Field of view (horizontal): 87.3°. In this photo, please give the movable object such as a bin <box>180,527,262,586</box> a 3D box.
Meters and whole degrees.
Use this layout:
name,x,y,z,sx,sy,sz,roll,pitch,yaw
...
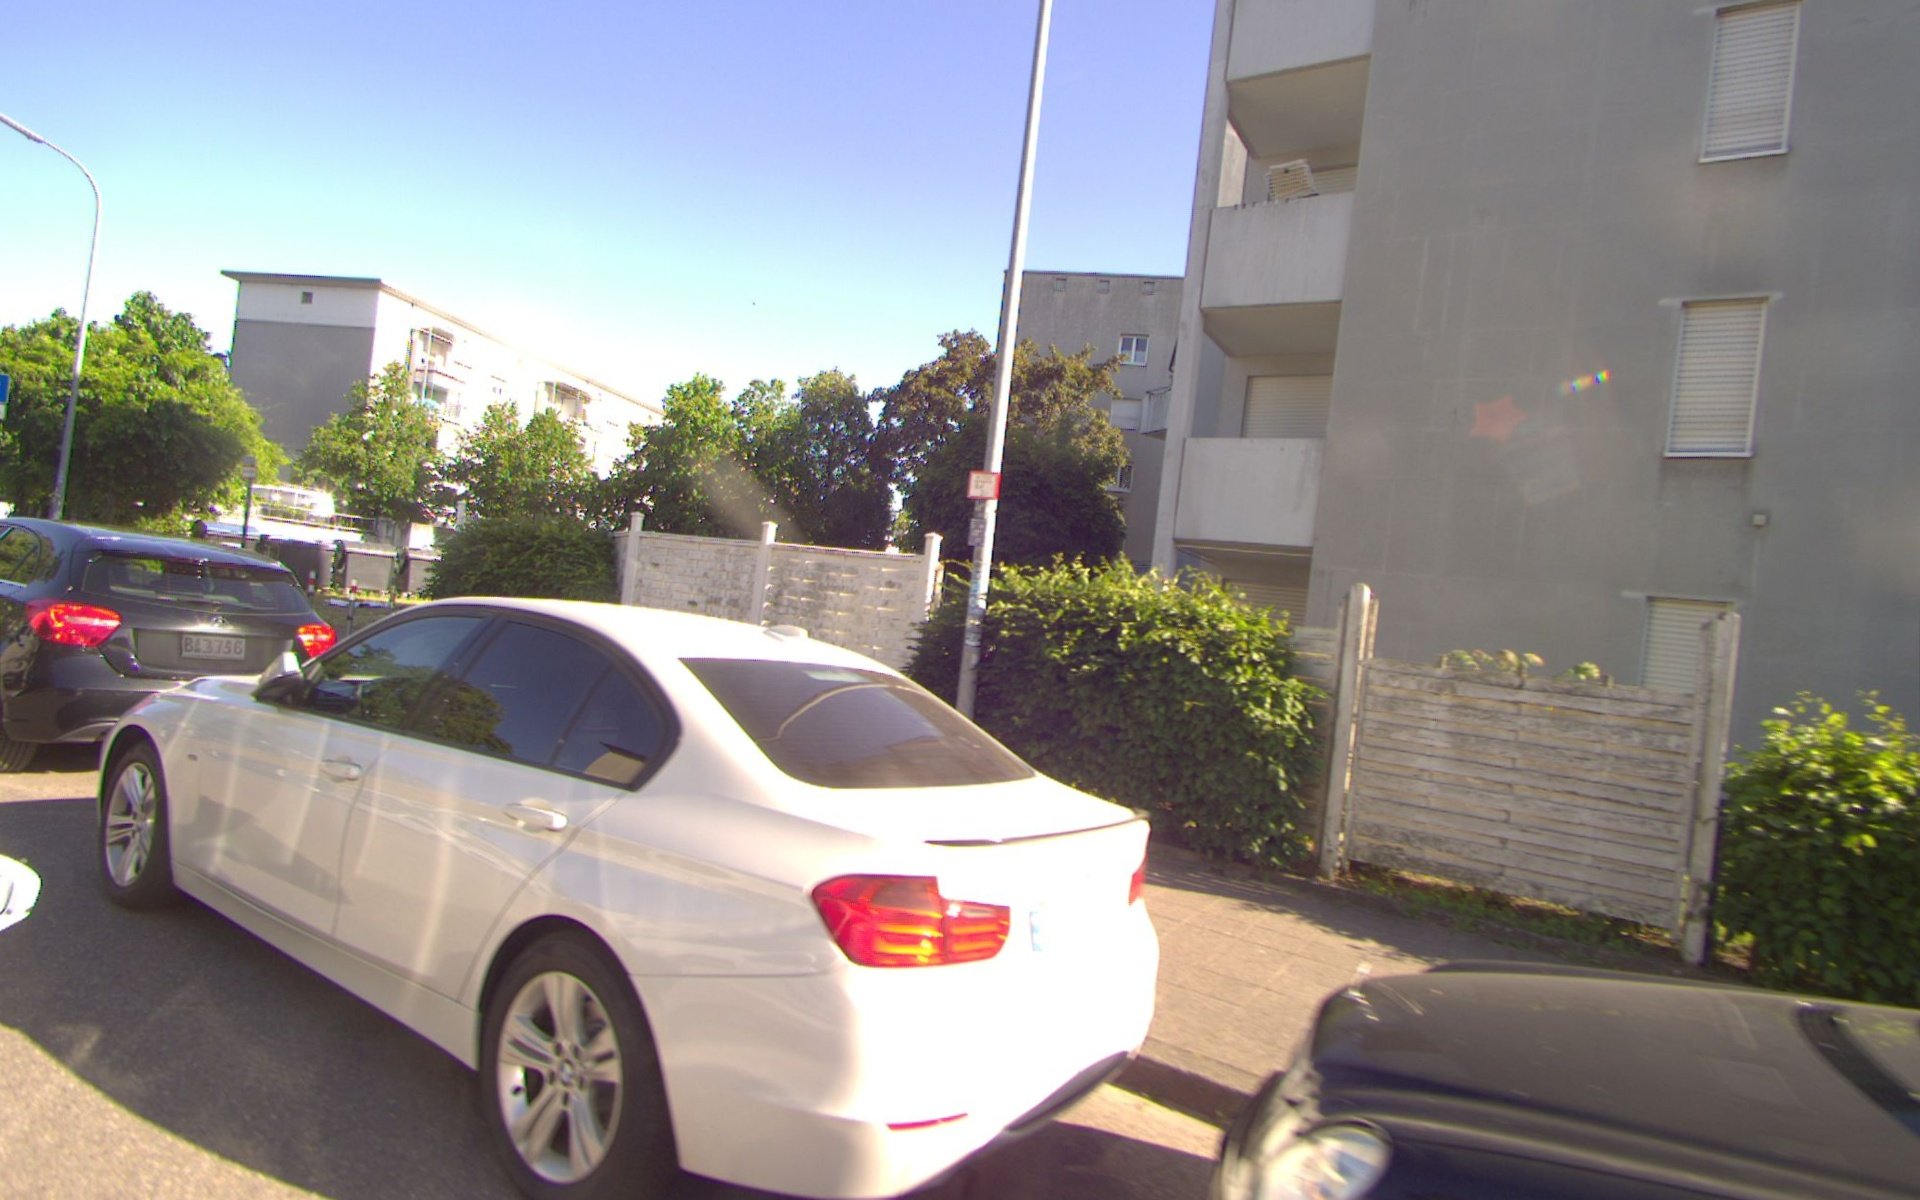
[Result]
name,x,y,z,sx,sy,sz,roll,pitch,yaw
movable object such as a bin,-19.458,-1.136,26.494,1.363,1.321,1.410,6,-1,41

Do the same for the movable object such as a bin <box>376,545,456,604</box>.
name,x,y,z,sx,sy,sz,roll,pitch,yaw
movable object such as a bin,-14.616,-0.686,27.052,1.363,1.391,1.425,6,0,41

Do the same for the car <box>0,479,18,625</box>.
name,x,y,z,sx,sy,sz,roll,pitch,yaw
car,-13.391,-0.811,12.149,4.305,1.686,1.912,6,-1,34

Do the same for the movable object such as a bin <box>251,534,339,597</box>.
name,x,y,z,sx,sy,sz,roll,pitch,yaw
movable object such as a bin,-16.313,-0.841,24.682,1.363,1.321,1.410,6,-1,41

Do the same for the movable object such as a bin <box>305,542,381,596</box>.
name,x,y,z,sx,sy,sz,roll,pitch,yaw
movable object such as a bin,-17.605,-0.868,28.701,1.363,1.321,1.410,6,-1,41

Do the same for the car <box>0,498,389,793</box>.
name,x,y,z,sx,sy,sz,roll,pitch,yaw
car,-6.183,0.139,7.101,4.305,1.506,1.912,6,-1,34

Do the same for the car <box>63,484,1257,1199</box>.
name,x,y,z,sx,sy,sz,roll,pitch,yaw
car,-1.370,0.533,3.806,4.305,1.506,1.912,6,-1,34

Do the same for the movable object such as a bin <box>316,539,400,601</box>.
name,x,y,z,sx,sy,sz,roll,pitch,yaw
movable object such as a bin,-15.483,-0.774,25.869,1.363,1.391,1.425,6,0,41

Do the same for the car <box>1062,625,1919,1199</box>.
name,x,y,z,sx,sy,sz,roll,pitch,yaw
car,2.771,1.060,1.369,4.841,1.434,1.997,6,-1,31

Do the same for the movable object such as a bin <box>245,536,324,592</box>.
name,x,y,z,sx,sy,sz,roll,pitch,yaw
movable object such as a bin,-18.521,-0.989,27.594,1.363,1.321,1.410,6,-1,41
